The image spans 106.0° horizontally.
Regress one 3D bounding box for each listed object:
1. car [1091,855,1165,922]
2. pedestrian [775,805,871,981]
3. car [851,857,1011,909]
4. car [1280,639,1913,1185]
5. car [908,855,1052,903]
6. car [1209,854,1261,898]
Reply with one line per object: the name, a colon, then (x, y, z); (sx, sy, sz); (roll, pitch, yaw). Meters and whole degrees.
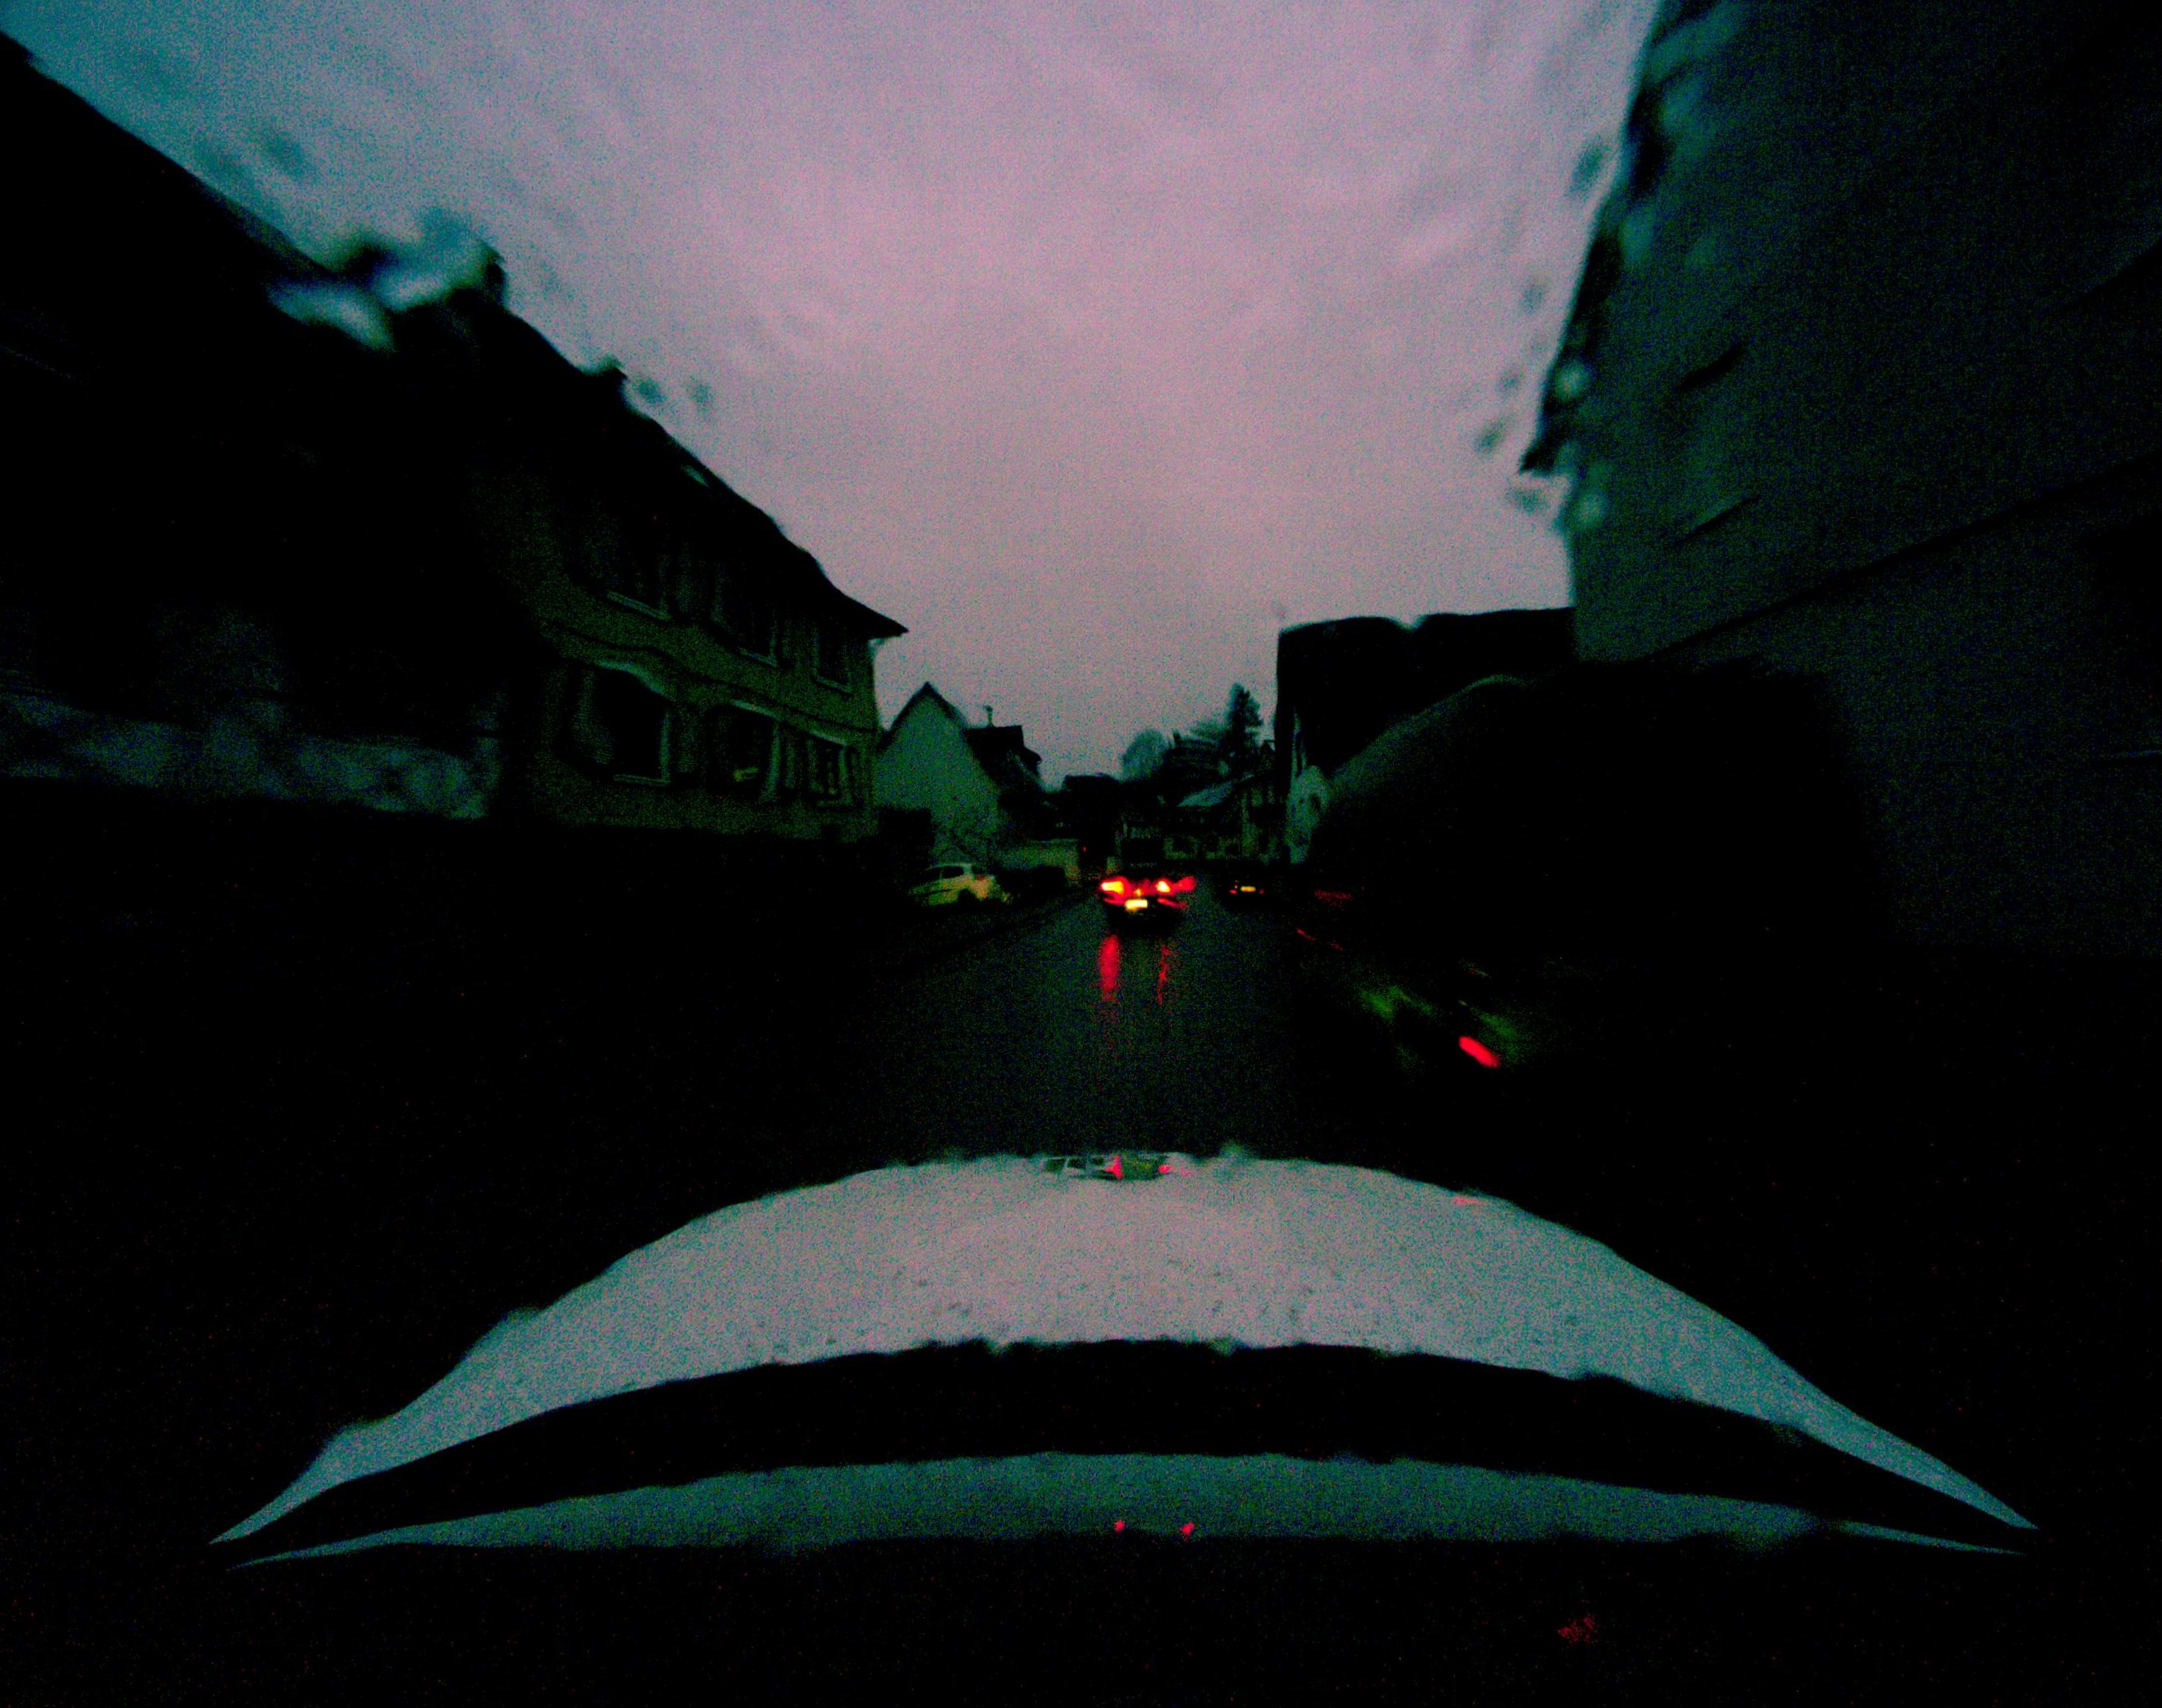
car: (1.249, 0.780, 20.073); (1.537, 1.466, 3.706); (-1, 0, 7)
pedestrian: (-3.068, 0.447, 9.768); (0.779, 2.014, 0.871); (0, -1, 7)
car: (-4.735, 0.911, 25.978); (4.571, 1.470, 1.898); (-2, -1, 12)
car: (3.016, 0.268, 6.544); (1.999, 2.454, 5.624); (-1, 0, 6)
car: (-3.480, 0.864, 28.623); (4.566, 1.470, 2.005); (-2, -1, 9)
car: (5.580, 0.758, 29.909); (1.629, 1.471, 4.008); (0, 0, 7)
